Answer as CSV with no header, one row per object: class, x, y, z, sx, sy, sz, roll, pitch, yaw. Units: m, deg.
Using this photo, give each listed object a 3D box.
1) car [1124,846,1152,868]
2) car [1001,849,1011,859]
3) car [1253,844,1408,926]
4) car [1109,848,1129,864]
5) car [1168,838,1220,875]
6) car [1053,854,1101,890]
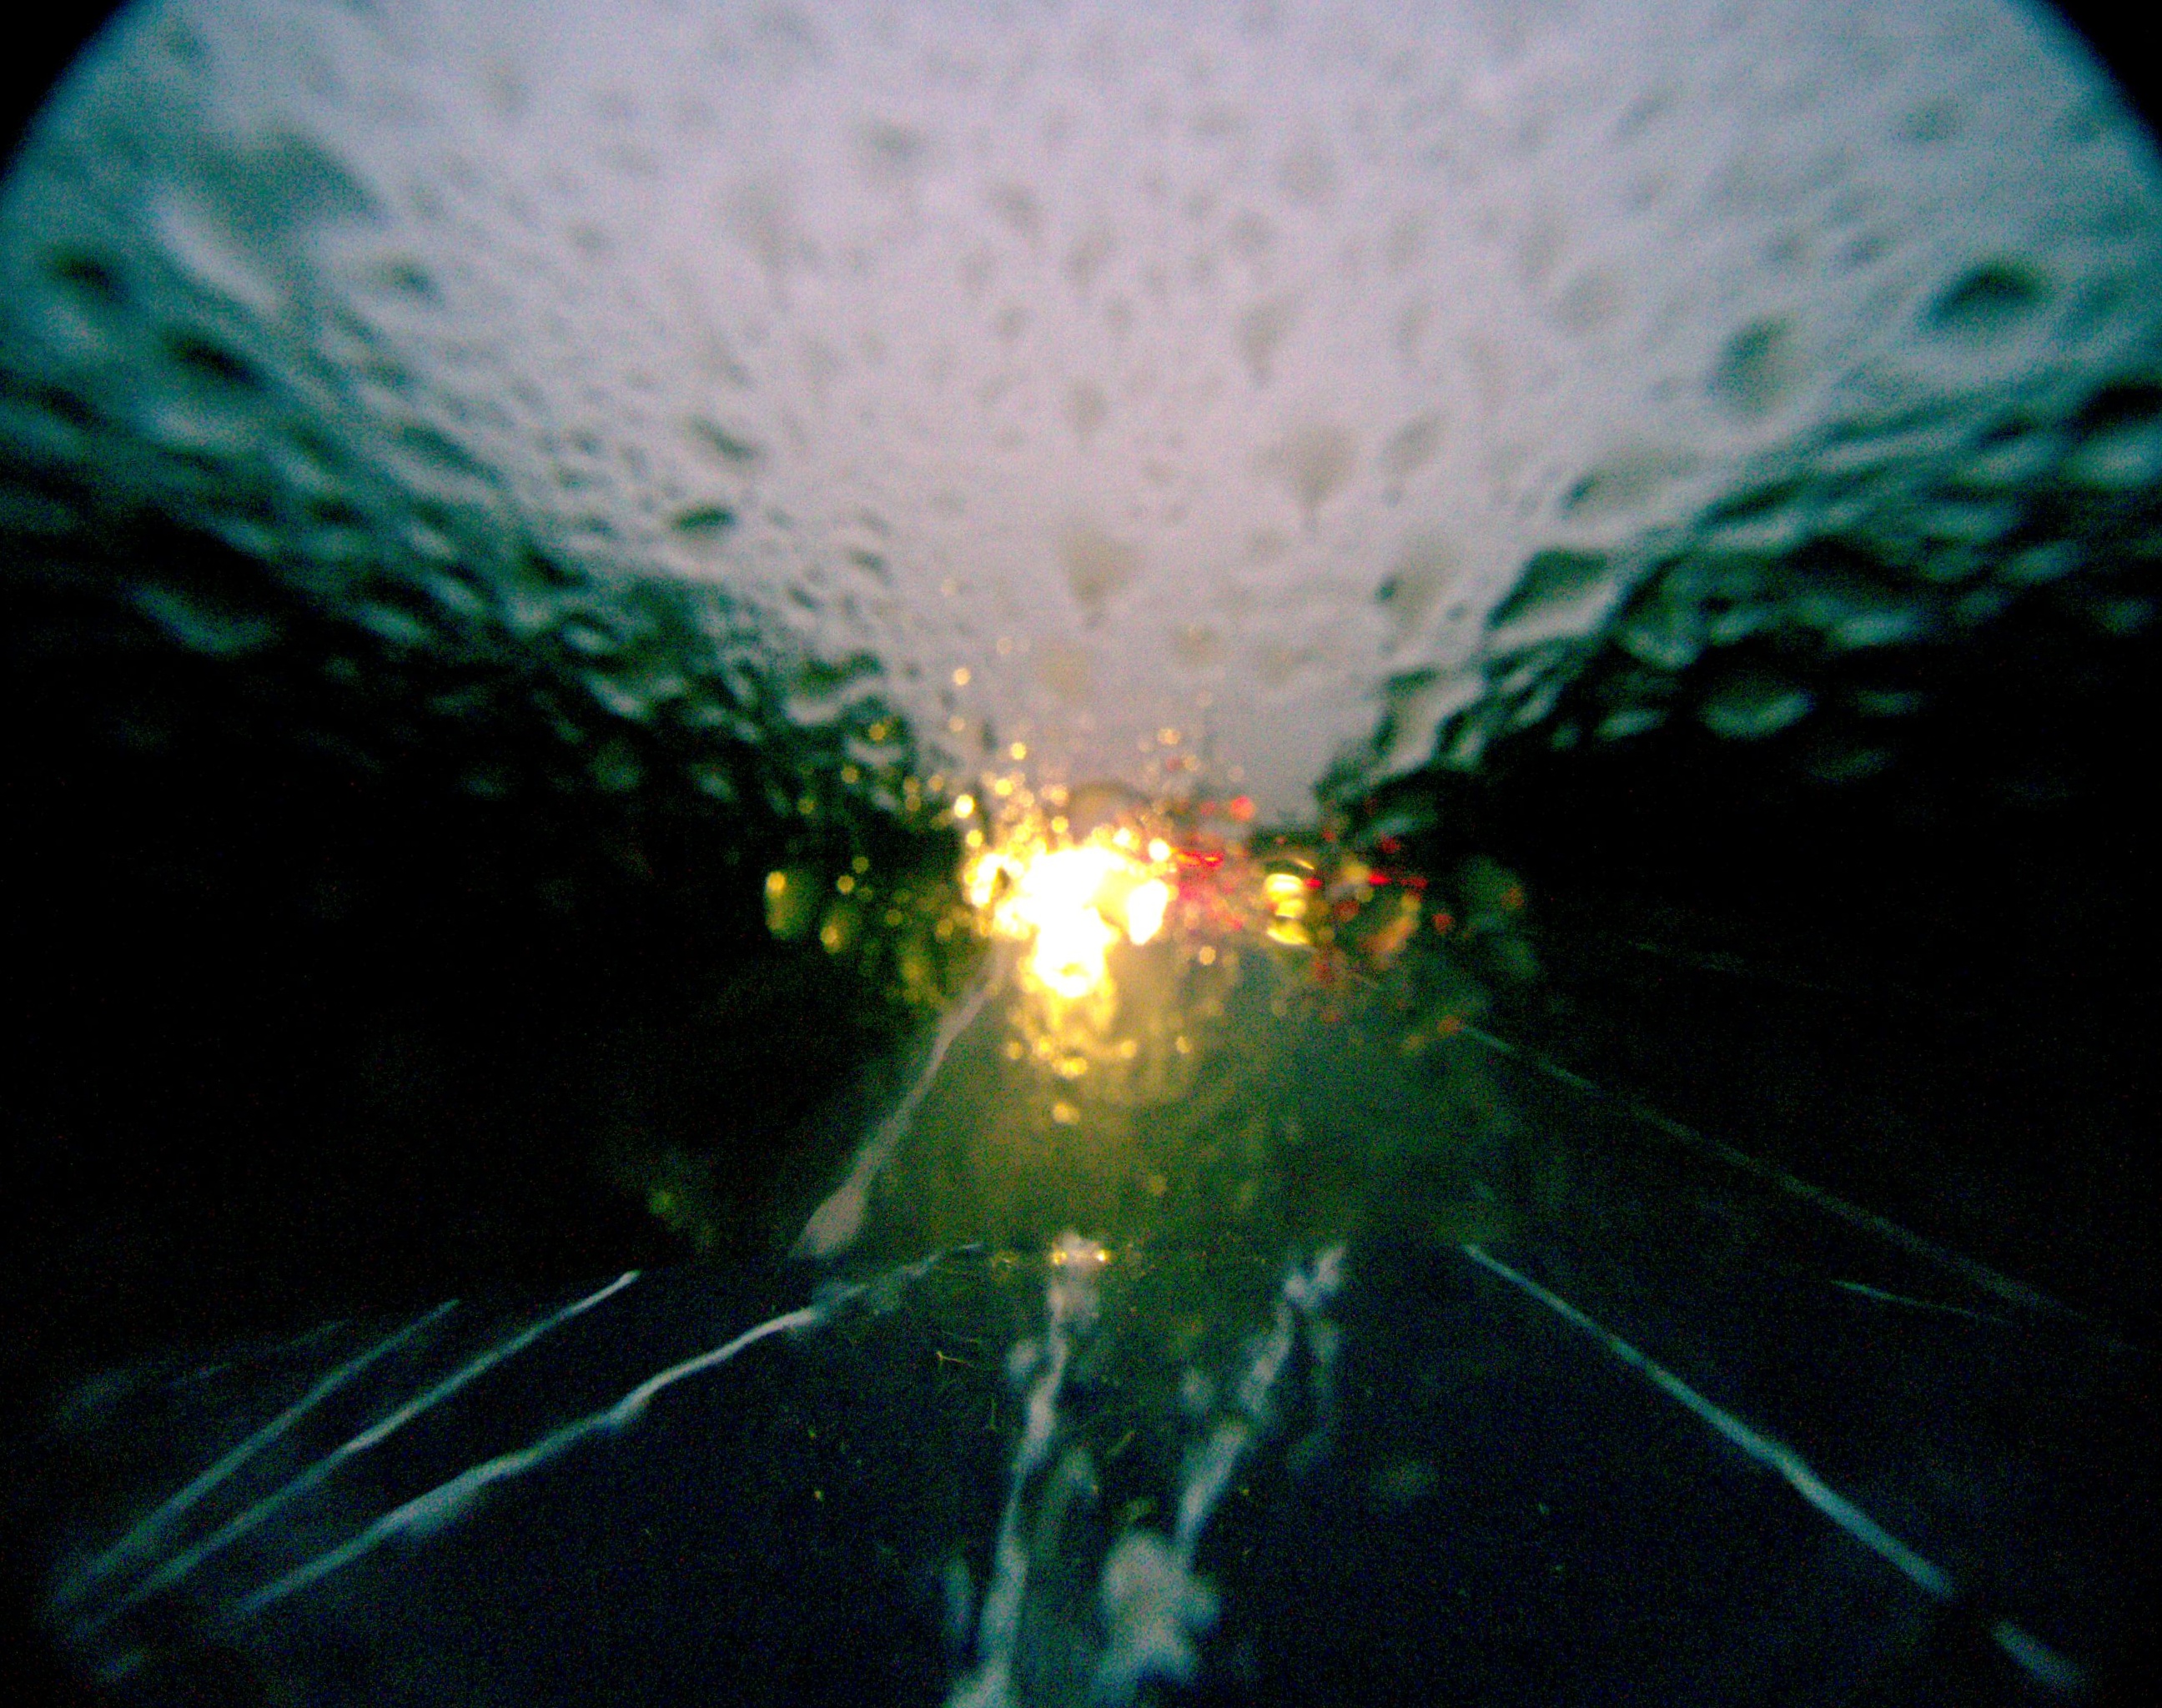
car,4.707,0.250,63.633,1.907,1.638,4.726,-3,0,0
car,-13.902,-0.049,141.428,1.702,1.721,3.996,-3,2,-6
car,5.118,0.552,16.242,1.809,1.445,4.378,-3,1,0
car,4.015,0.207,80.259,1.828,1.515,4.298,-3,0,0
car,5.495,0.060,37.499,1.865,1.638,4.466,-2,1,0
car,-0.250,0.772,34.526,1.851,1.429,4.243,-3,0,-4
